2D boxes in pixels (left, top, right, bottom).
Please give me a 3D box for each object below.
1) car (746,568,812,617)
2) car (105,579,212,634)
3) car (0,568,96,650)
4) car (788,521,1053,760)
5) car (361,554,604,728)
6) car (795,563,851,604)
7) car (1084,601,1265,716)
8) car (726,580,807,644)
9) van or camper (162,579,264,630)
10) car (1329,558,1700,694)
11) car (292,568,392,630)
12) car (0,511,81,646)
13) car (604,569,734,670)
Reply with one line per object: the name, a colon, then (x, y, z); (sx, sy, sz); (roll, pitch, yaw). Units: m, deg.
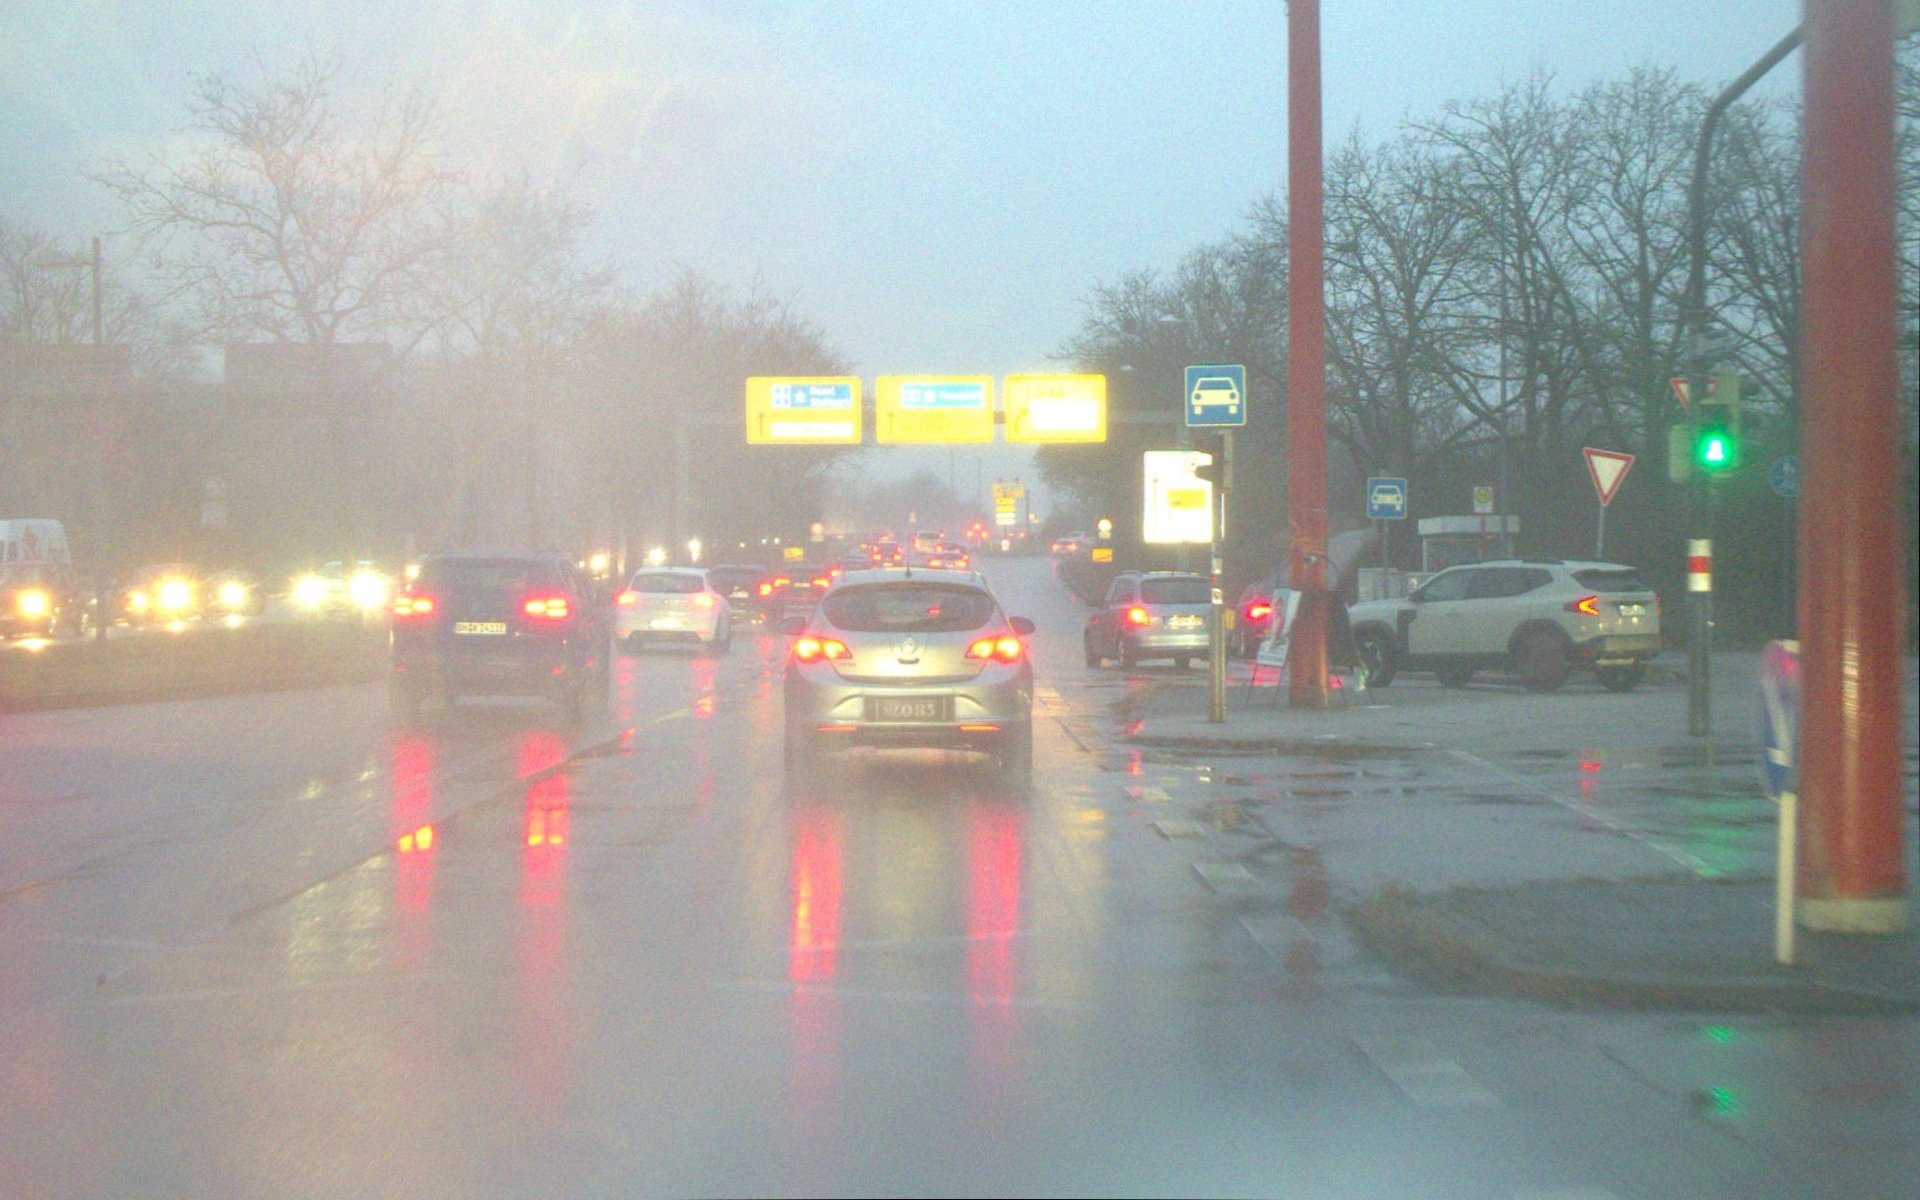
car: (-5.669, -0.241, 107.961); (1.822, 1.499, 4.000); (0, 0, 1)
car: (-22.090, 0.163, 94.931); (1.904, 1.441, 4.442); (1, 0, 0)
car: (-18.729, 0.158, 69.024); (1.770, 1.581, 4.033); (0, 1, -1)
car: (-0.247, 0.253, 25.932); (1.822, 1.642, 4.466); (0, 1, 1)
car: (-4.700, 0.371, 34.331); (1.822, 1.642, 4.000); (0, 0, 1)
car: (-5.447, -0.662, 137.249); (1.993, 1.571, 4.000); (1, 0, 1)
car: (3.249, 0.868, 52.926); (1.933, 1.642, 4.467); (1, 0, -7)
car: (-4.188, 0.248, 74.796); (1.505, 1.334, 4.000); (0, 0, 1)
van or camper: (-22.168, 0.117, 102.220); (1.904, 1.441, 5.158); (1, 0, 0)
car: (6.907, 0.293, 43.145); (1.816, 1.612, 4.408); (0, 1, -43)
car: (-16.071, -0.057, 89.644); (1.770, 1.531, 4.841); (0, 1, -1)
car: (-22.376, -0.497, 78.940); (2.292, 2.994, 7.346); (1, 0, 1)
car: (-4.881, 0.304, 58.160); (1.822, 1.642, 4.000); (0, 0, 1)
